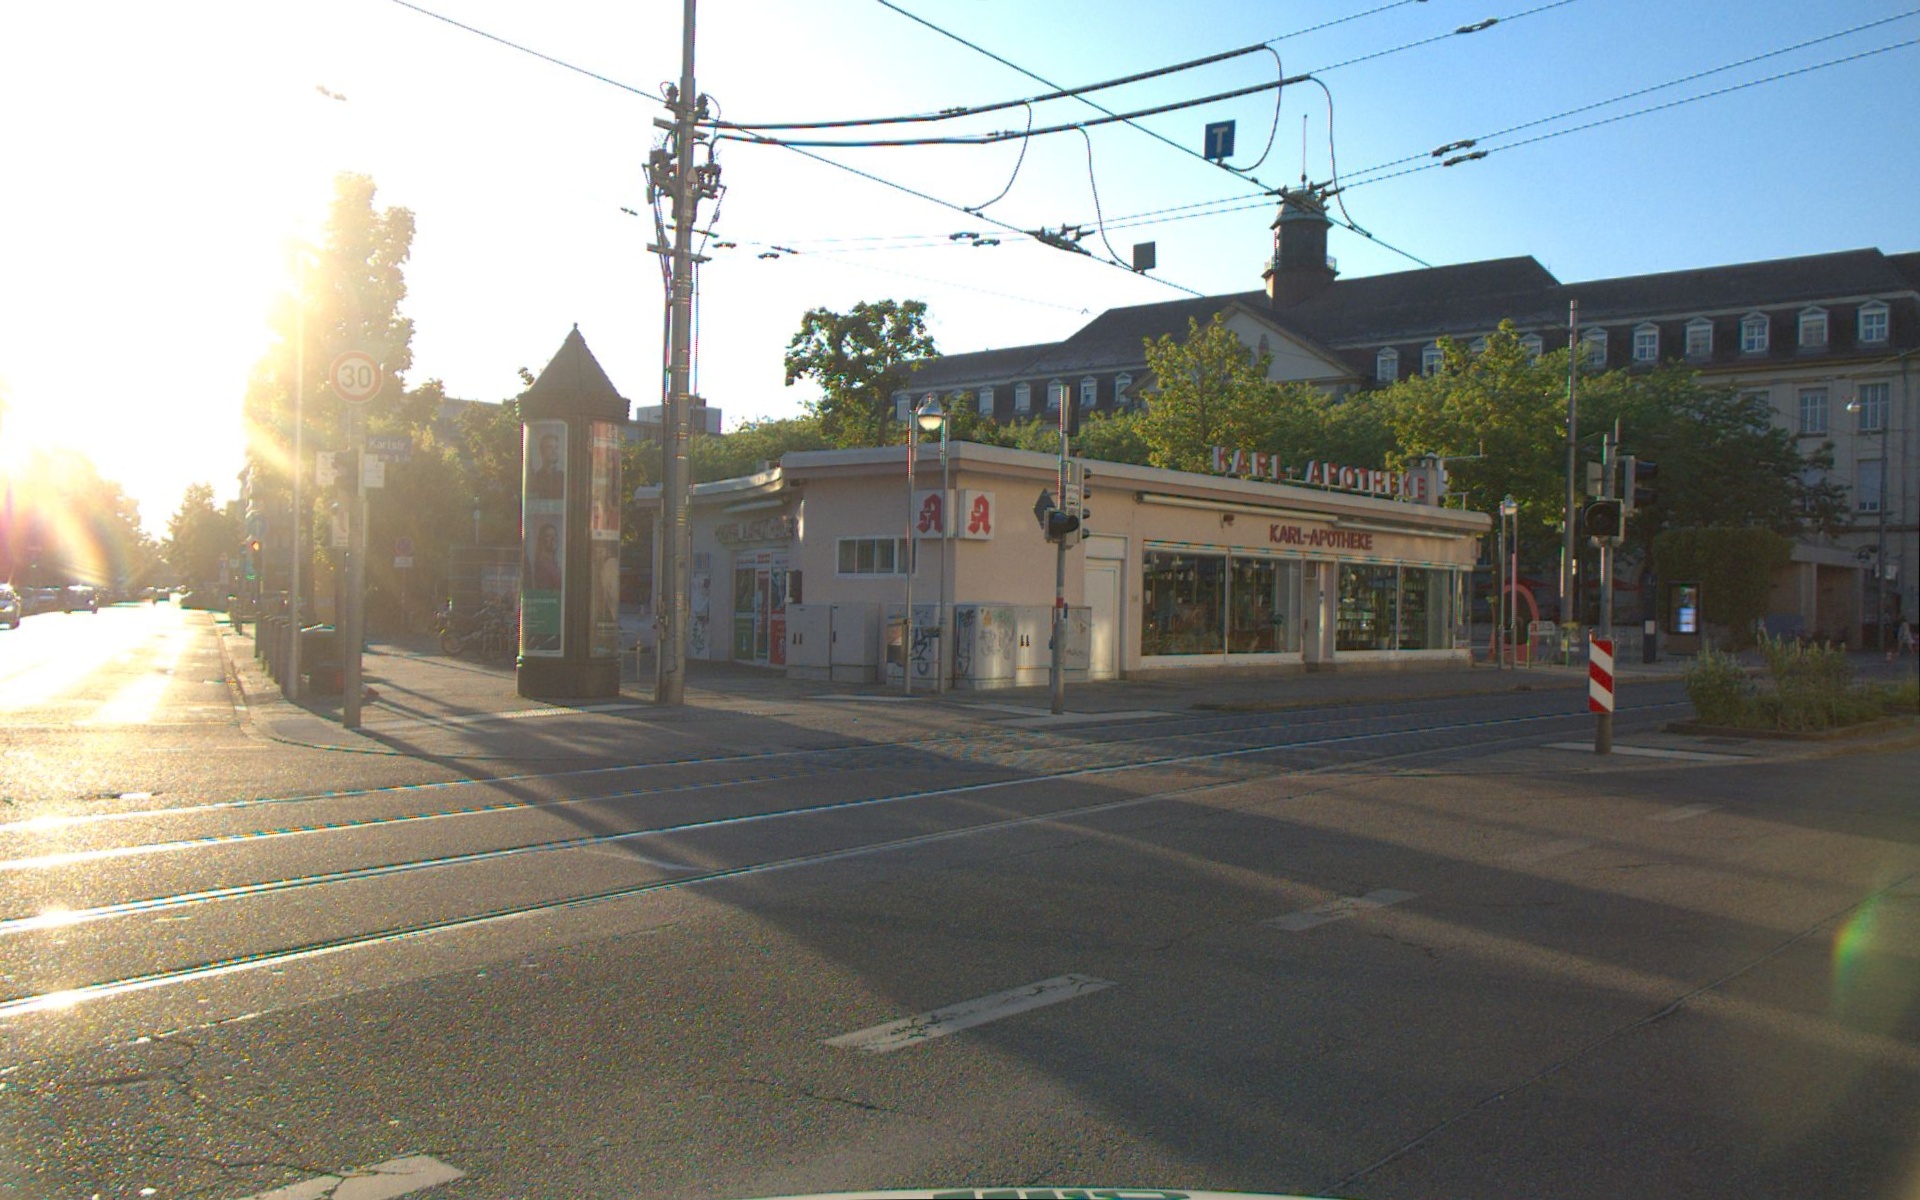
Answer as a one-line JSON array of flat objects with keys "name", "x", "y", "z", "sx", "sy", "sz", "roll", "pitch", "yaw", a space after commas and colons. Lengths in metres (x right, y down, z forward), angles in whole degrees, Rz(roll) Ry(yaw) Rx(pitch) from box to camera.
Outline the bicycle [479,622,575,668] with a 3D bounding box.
[{"name": "bicycle", "x": -9.680, "y": 1.003, "z": 36.984, "sx": 2.045, "sy": 0.999, "sz": 0.557, "roll": 1, "pitch": -1, "yaw": -17}]

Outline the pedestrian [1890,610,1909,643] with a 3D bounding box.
[{"name": "pedestrian", "x": 49.143, "y": 1.364, "z": 86.522, "sx": 0.699, "sy": 1.674, "sz": 0.660, "roll": 2, "pitch": 0, "yaw": 20}]

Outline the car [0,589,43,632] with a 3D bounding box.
[{"name": "car", "x": -34.062, "y": 0.388, "z": 59.563, "sx": 1.525, "sy": 1.493, "sz": 3.325, "roll": 1, "pitch": -1, "yaw": -25}]

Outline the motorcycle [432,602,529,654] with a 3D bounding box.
[{"name": "motorcycle", "x": -11.479, "y": 0.666, "z": 39.603, "sx": 2.201, "sy": 1.222, "sz": 0.716, "roll": 1, "pitch": 0, "yaw": -20}]

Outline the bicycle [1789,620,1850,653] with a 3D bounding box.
[{"name": "bicycle", "x": 35.762, "y": 1.500, "z": 68.814, "sx": 2.165, "sy": 1.323, "sz": 0.576, "roll": 1, "pitch": -2, "yaw": 42}]

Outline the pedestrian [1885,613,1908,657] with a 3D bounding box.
[{"name": "pedestrian", "x": 42.794, "y": 1.599, "z": 75.550, "sx": 0.714, "sy": 1.968, "sz": 0.787, "roll": 0, "pitch": -2, "yaw": 45}]

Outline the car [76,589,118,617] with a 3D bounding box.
[{"name": "car", "x": -54.359, "y": 0.201, "z": 104.212, "sx": 1.966, "sy": 1.713, "sz": 3.972, "roll": 1, "pitch": 0, "yaw": -23}]

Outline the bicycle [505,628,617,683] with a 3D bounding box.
[{"name": "bicycle", "x": -7.861, "y": 1.092, "z": 32.607, "sx": 2.113, "sy": 1.062, "sz": 0.557, "roll": 1, "pitch": -1, "yaw": -17}]

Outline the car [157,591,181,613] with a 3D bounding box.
[{"name": "car", "x": -76.732, "y": 0.203, "z": 160.543, "sx": 1.968, "sy": 2.049, "sz": 3.968, "roll": 2, "pitch": -1, "yaw": -25}]

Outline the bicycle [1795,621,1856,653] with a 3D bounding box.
[{"name": "bicycle", "x": 36.658, "y": 1.567, "z": 70.049, "sx": 2.208, "sy": 1.277, "sz": 0.576, "roll": 1, "pitch": -2, "yaw": 42}]

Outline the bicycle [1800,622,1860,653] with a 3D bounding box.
[{"name": "bicycle", "x": 37.355, "y": 1.601, "z": 71.012, "sx": 2.208, "sy": 1.253, "sz": 0.581, "roll": 1, "pitch": -1, "yaw": 42}]

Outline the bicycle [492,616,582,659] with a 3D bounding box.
[{"name": "bicycle", "x": -9.878, "y": 0.876, "z": 38.600, "sx": 2.006, "sy": 0.994, "sz": 0.557, "roll": 1, "pitch": -1, "yaw": -17}]

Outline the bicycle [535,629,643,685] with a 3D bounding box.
[{"name": "bicycle", "x": -7.140, "y": 1.089, "z": 31.833, "sx": 1.988, "sy": 1.062, "sz": 0.557, "roll": 1, "pitch": -1, "yaw": -17}]
